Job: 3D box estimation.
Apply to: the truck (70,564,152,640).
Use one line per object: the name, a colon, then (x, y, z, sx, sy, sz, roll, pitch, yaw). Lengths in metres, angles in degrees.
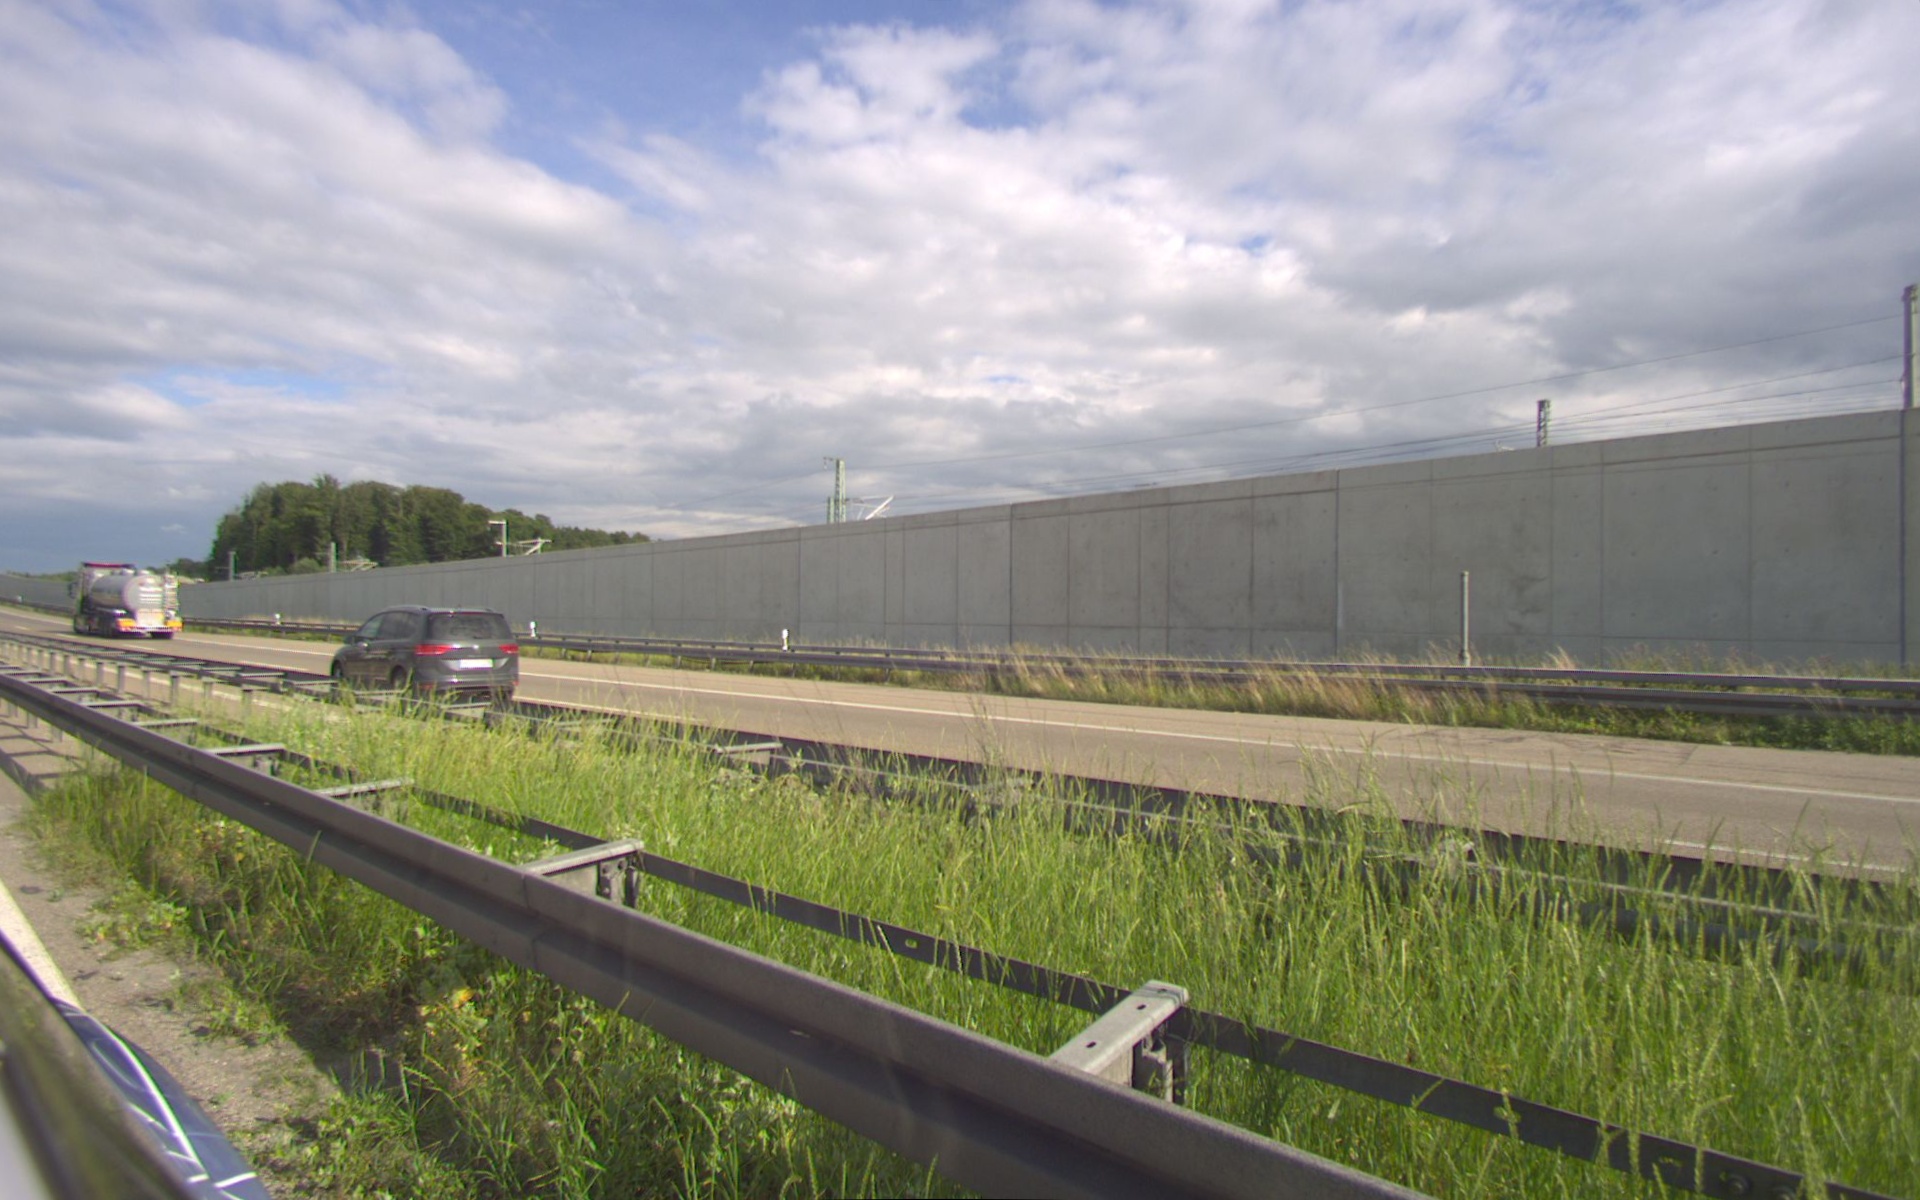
truck: (-46.929, 0.167, 55.873, 5.719, 3.953, 2.555, -1, -2, 41)

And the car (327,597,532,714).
car: (-9.081, 0.861, 17.188, 4.101, 1.750, 1.762, -1, -1, 42)

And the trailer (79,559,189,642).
trailer: (-42.847, 0.103, 52.334, 10.859, 3.931, 2.561, -1, -2, 41)
